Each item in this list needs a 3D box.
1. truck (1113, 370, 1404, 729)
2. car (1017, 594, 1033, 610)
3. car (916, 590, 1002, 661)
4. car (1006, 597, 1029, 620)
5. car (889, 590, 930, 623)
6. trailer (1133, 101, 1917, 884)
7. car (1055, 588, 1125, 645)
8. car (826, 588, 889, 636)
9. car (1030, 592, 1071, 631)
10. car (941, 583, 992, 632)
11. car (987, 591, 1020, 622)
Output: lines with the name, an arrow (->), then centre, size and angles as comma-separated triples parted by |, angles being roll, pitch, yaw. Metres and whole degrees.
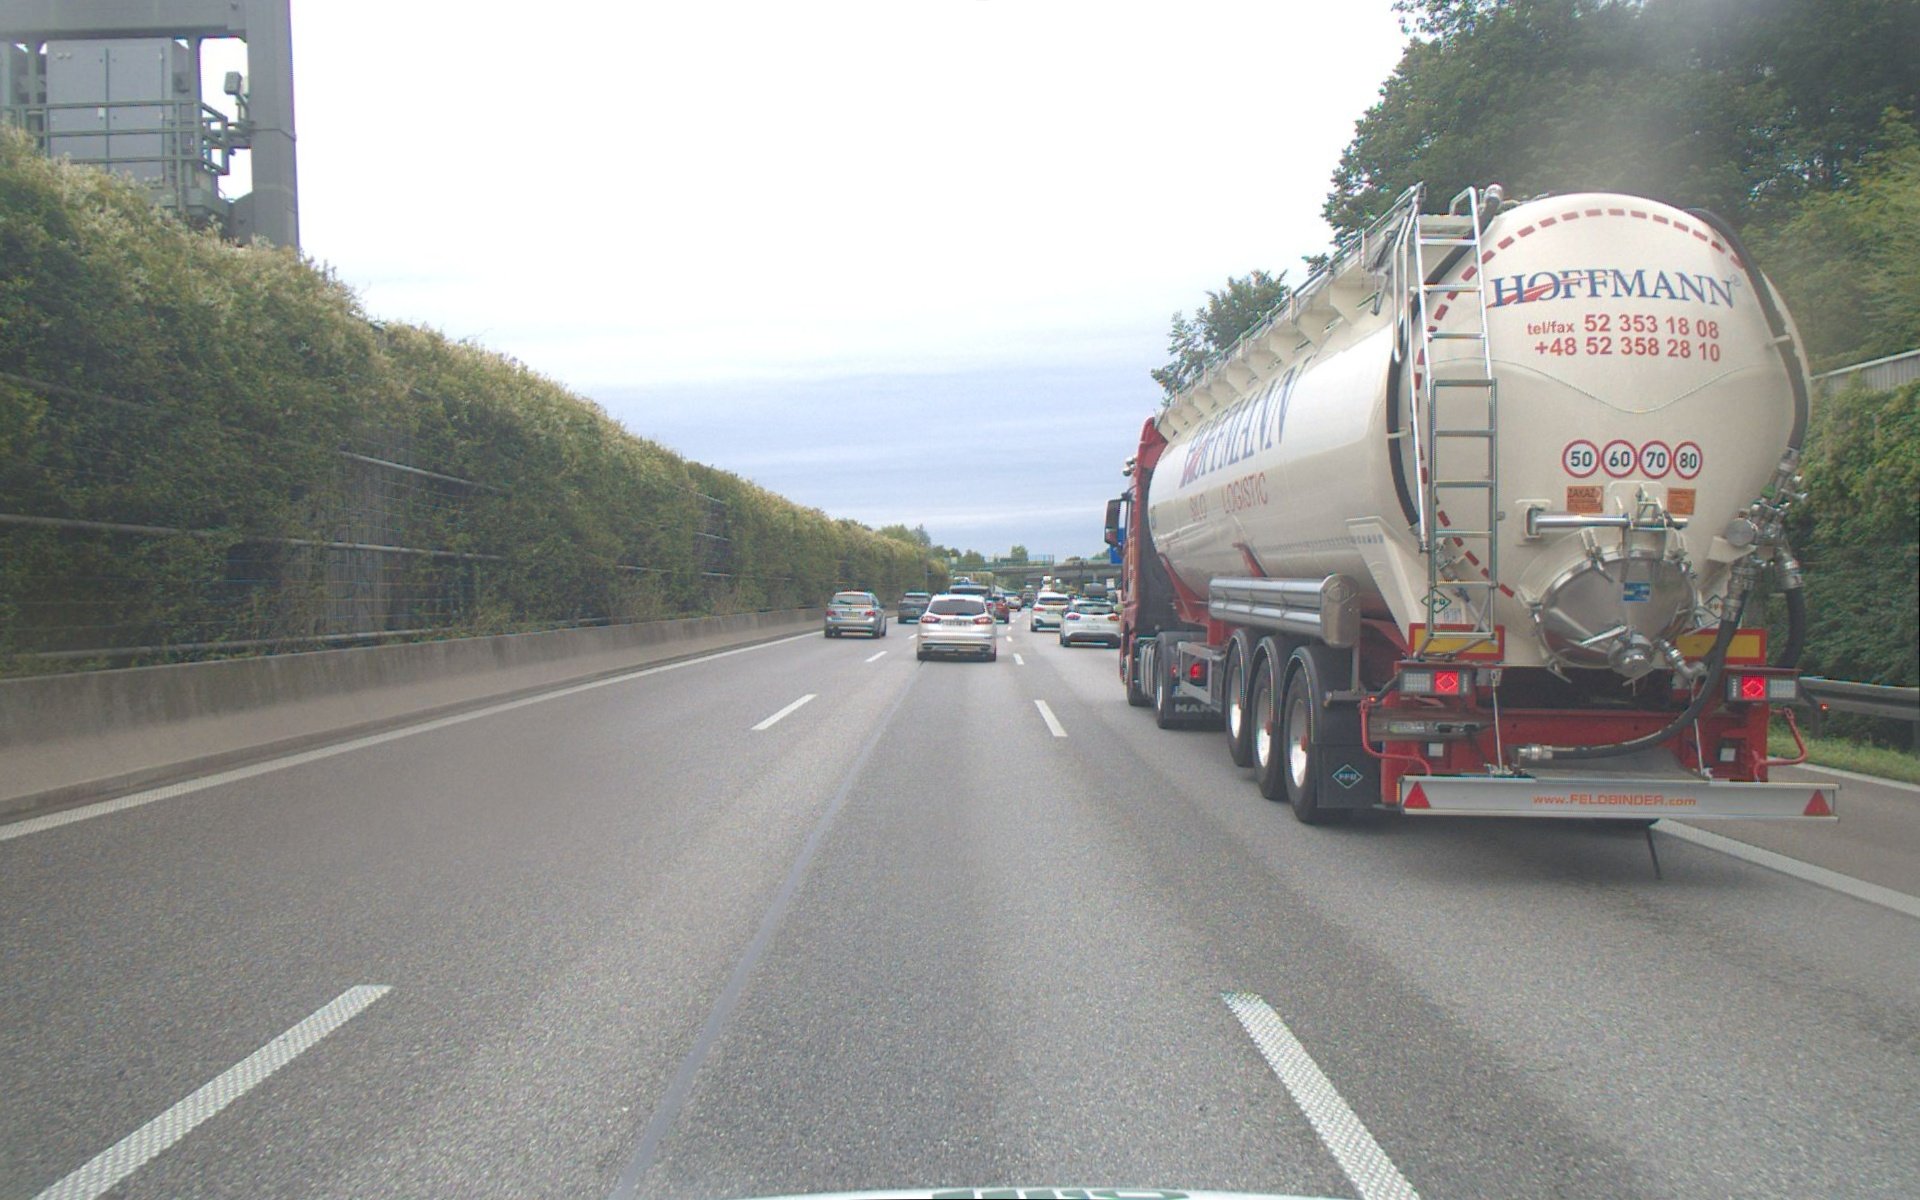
truck -> 3.630, -0.543, 21.678 | 2.640, 3.981, 6.556 | 0, 0, 0
car -> 6.495, 0.237, 165.557 | 1.654, 1.566, 3.872 | 0, 0, 2
car -> 0.009, 0.547, 38.633 | 1.853, 1.530, 5.030 | 1, 0, 1
car -> 4.711, 0.707, 135.188 | 1.752, 1.811, 3.873 | -1, 0, 4
car -> -2.406, 0.312, 80.524 | 1.684, 1.538, 5.031 | 0, 0, 2
trailer -> 3.595, -0.519, 15.058 | 2.613, 4.008, 13.128 | 0, 0, 0
car -> 3.894, 0.476, 50.134 | 1.779, 1.654, 5.030 | 0, 0, 0
car -> -3.335, 0.420, 54.672 | 1.684, 1.495, 5.030 | 0, -1, 1
car -> 3.735, 0.477, 68.636 | 1.653, 1.533, 3.872 | 0, 0, 2
car -> 0.257, 0.230, 58.879 | 1.654, 1.532, 3.872 | 4, 1, 1
car -> 2.227, 0.339, 84.587 | 1.654, 1.533, 3.872 | 1, 0, 1
